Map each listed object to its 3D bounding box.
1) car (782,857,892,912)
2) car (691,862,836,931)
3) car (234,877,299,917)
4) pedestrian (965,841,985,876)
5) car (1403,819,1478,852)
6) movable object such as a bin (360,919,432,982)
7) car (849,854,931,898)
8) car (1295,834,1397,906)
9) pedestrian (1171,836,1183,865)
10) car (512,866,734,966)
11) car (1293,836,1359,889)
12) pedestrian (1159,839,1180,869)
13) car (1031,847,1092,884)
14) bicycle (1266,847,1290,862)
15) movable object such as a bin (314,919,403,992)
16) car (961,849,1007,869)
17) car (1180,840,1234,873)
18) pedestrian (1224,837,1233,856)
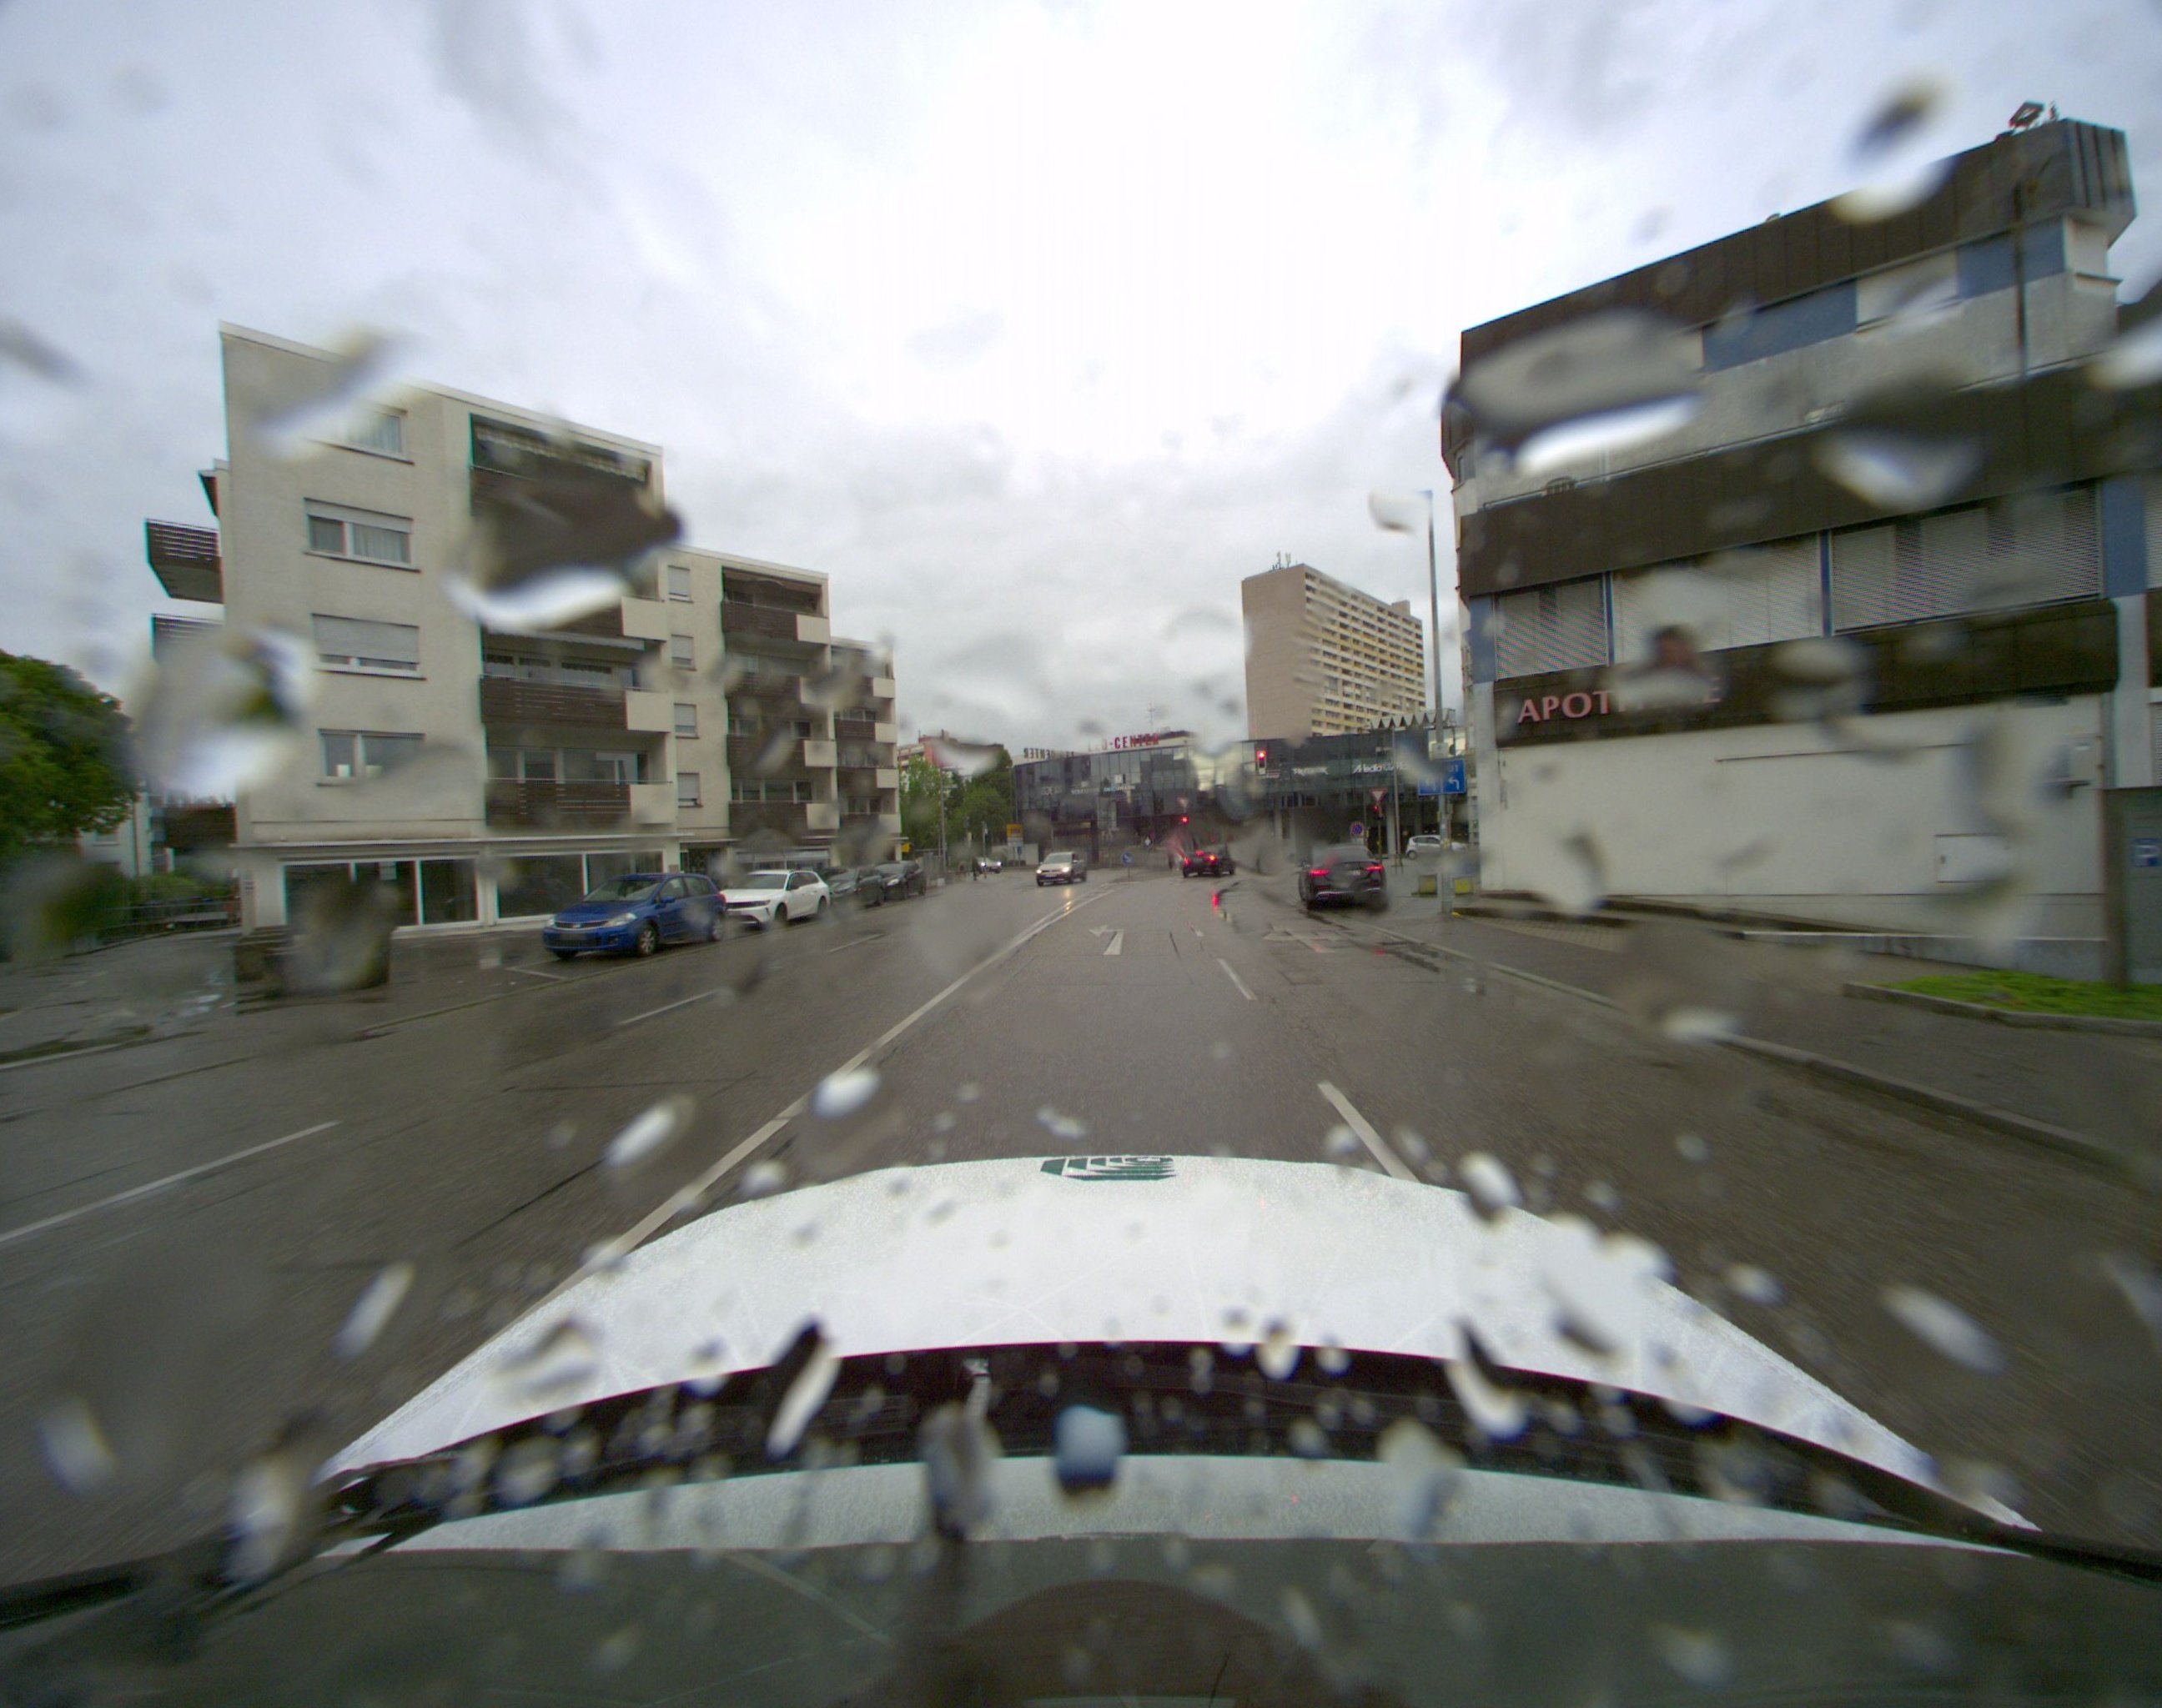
[{"bbox_3d":[-7.929,0.937,26.993,1.926,1.541,4.526,-2,1,4],"label":"car"},{"bbox_3d":[-8.252,1.037,21.717,1.686,1.464,4.690,-2,1,4],"label":"car"},{"bbox_3d":[-44.940,2.350,44.917,3.948,2.013,2.013,-2,1,38],"label":"car"},{"bbox_3d":[-6.175,0.246,47.650,0.741,2.013,0.926,2,1,24],"label":"pedestrian"},{"bbox_3d":[23.485,-1.182,53.274,2.010,2.013,3.953,-3,1,-39],"label":"car"},{"bbox_3d":[-10.866,1.523,12.927,0.571,0.903,0.598,-3,0,3],"label":"movable object such as a bin"},{"bbox_3d":[-7.580,0.826,32.745,1.926,1.541,4.278,-2,1,4],"label":"car"},{"bbox_3d":[6.376,0.363,20.065,1.979,1.533,4.664,-2,-1,13],"label":"car"},{"bbox_3d":[5.572,-0.208,47.211,0.608,1.659,0.672,1,2,-1],"label":"pedestrian"},{"bbox_3d":[-8.761,1.096,16.094,1.644,1.521,4.329,-2,1,4],"label":"car"},{"bbox_3d":[7.999,0.219,26.887,1.686,1.486,4.014,-6,0,12],"label":"car"},{"bbox_3d":[5.019,-0.011,46.408,0.913,1.659,0.749,0,2,-24],"label":"pedestrian"},{"bbox_3d":[-0.850,0.501,38.254,1.812,1.439,3.856,-4,1,14],"label":"car"},{"bbox_3d":[20.870,0.033,86.368,2.415,1.463,0.656,-2,2,2],"label":"bicycle"},{"bbox_3d":[-10.715,1.493,12.094,0.645,0.966,0.683,-3,0,3],"label":"movable object such as a bin"},{"bbox_3d":[-8.139,0.404,68.148,2.008,1.511,4.388,0,2,-34],"label":"car"},{"bbox_3d":[6.161,0.096,39.463,1.789,1.419,4.020,-3,1,20],"label":"car"},{"bbox_3d":[15.778,-0.800,87.279,0.782,2.013,0.673,-3,0,14],"label":"pedestrian"}]
